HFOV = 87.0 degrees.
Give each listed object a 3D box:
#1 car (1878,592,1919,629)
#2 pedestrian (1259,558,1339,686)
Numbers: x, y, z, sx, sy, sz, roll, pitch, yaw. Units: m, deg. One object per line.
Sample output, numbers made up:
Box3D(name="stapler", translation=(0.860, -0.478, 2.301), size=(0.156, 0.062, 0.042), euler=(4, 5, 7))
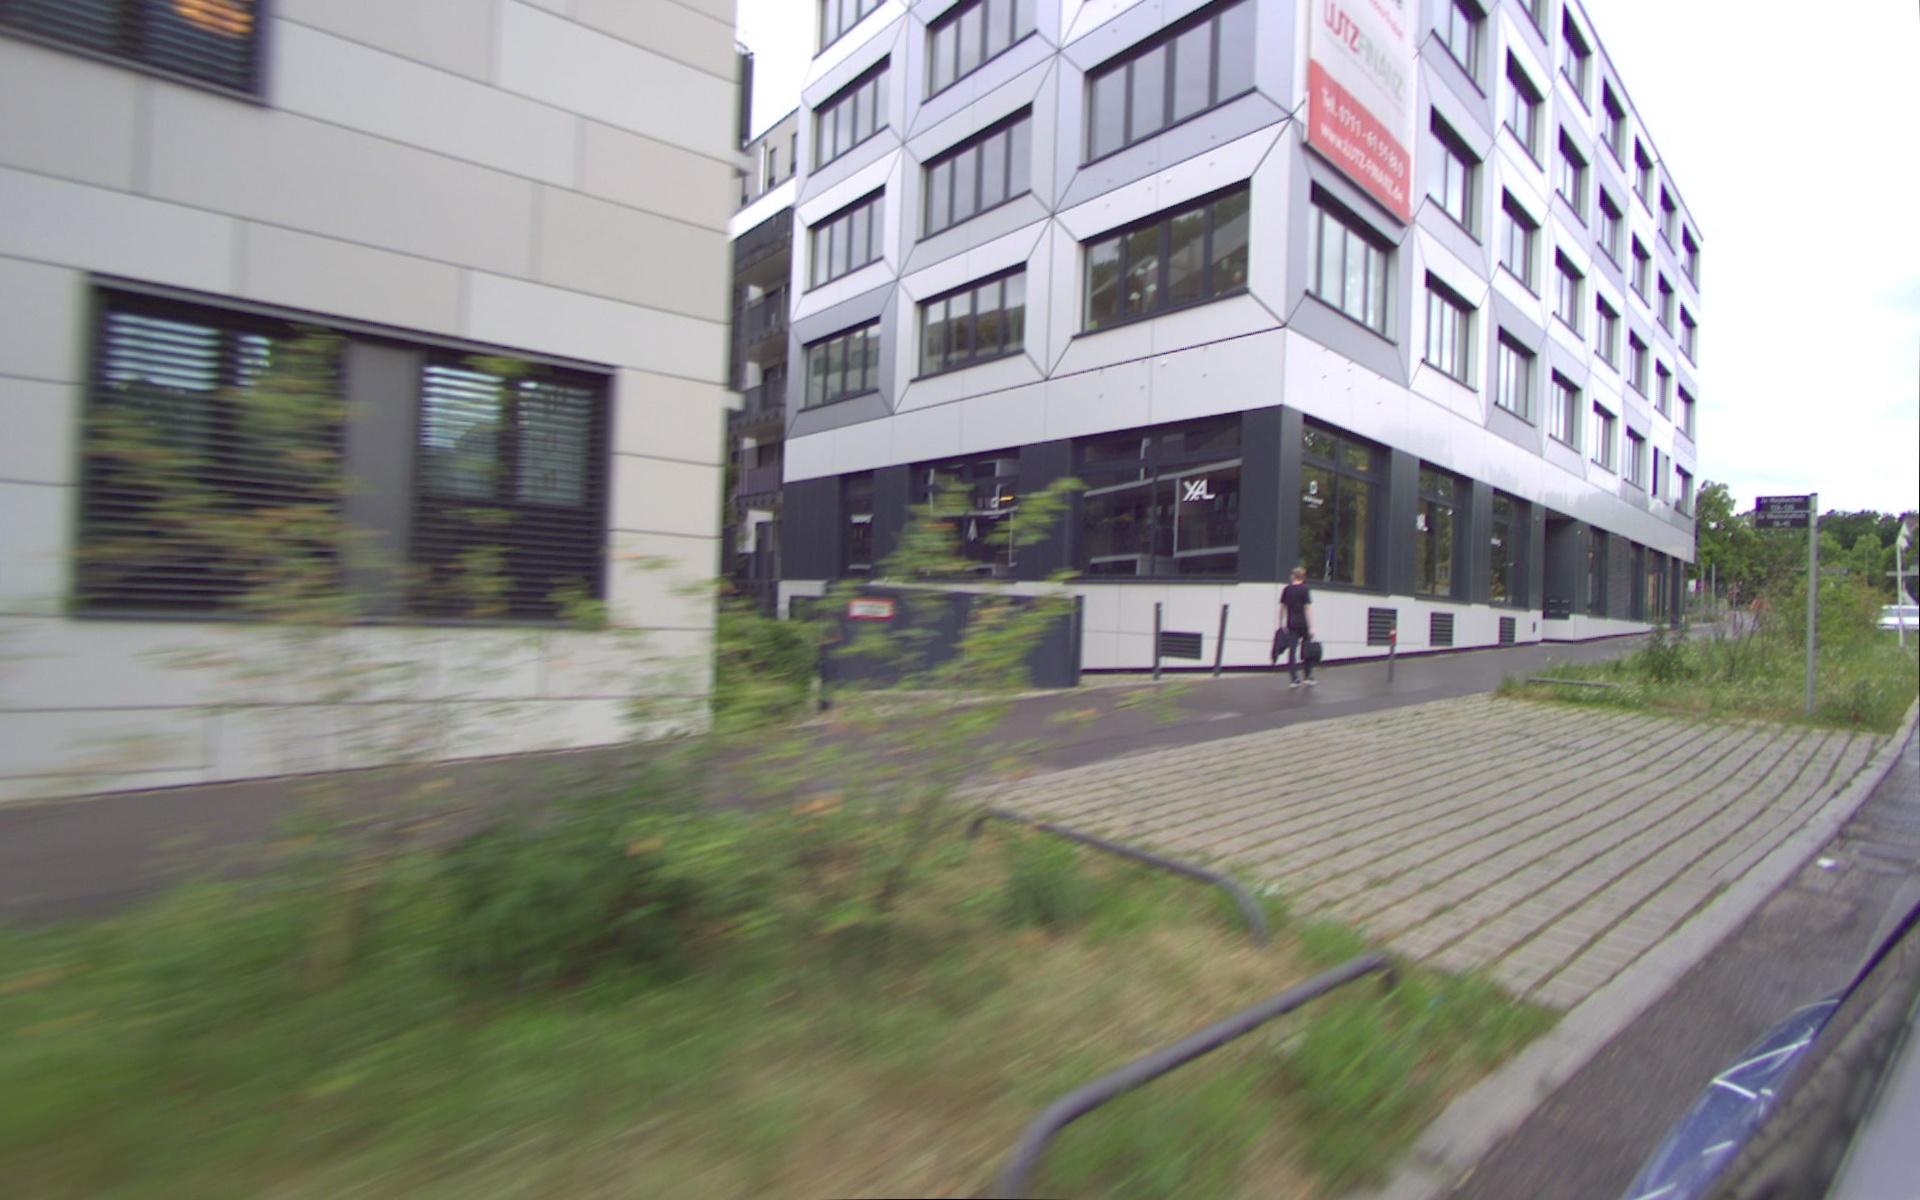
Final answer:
Box3D(name="car", translation=(39.679, 0.455, 42.120), size=(2.037, 1.483, 4.435), euler=(0, -1, 41))
Box3D(name="pedestrian", translation=(5.012, 0.307, 14.984), size=(0.764, 1.818, 0.824), euler=(1, 0, -41))
